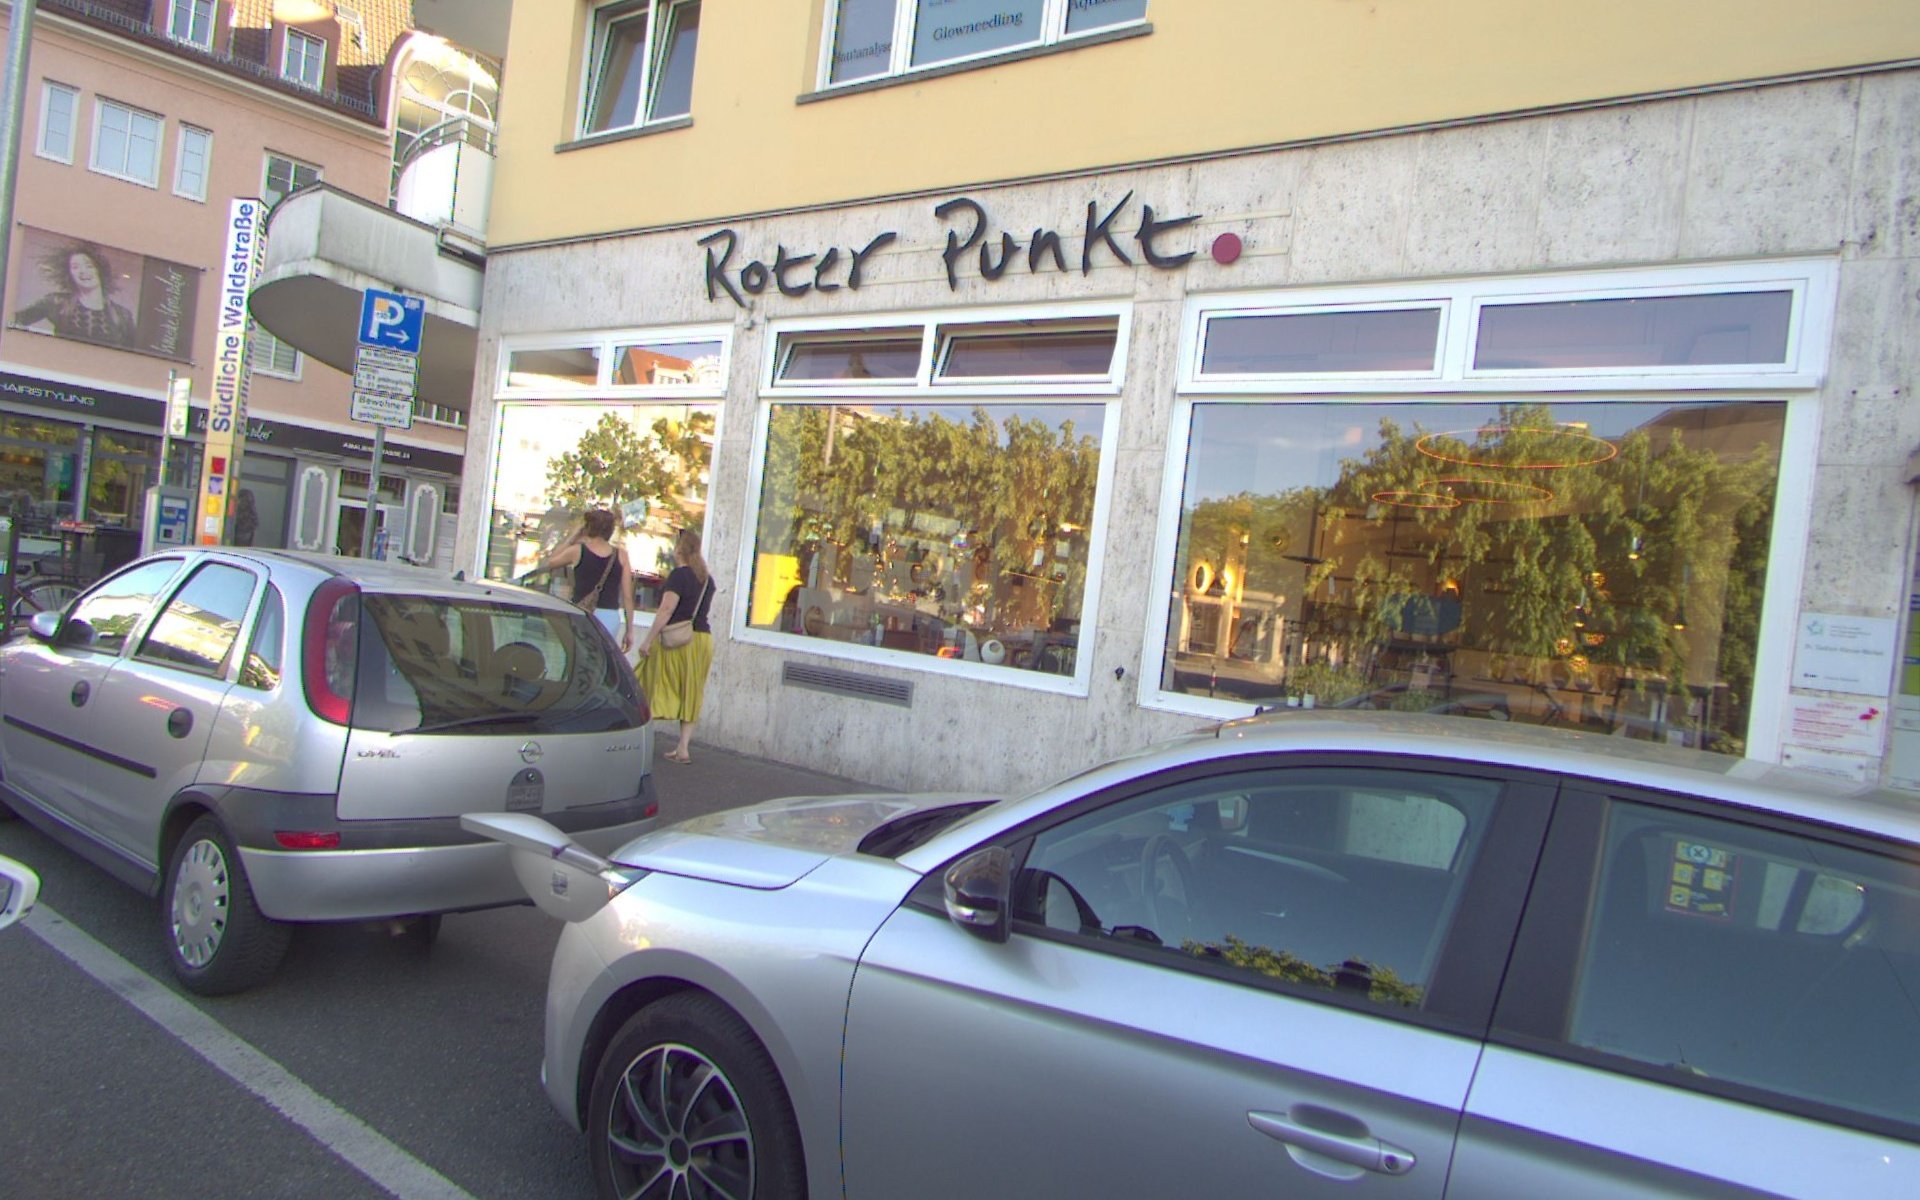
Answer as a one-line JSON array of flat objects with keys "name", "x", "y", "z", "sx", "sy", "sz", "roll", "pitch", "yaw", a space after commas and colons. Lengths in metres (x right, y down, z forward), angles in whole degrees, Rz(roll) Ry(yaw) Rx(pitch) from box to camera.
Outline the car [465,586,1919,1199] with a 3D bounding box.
[{"name": "car", "x": 0.764, "y": 0.920, "z": 2.286, "sx": 3.598, "sy": 1.444, "sz": 1.550, "roll": 6, "pitch": -1, "yaw": 30}]

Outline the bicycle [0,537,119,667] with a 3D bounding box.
[{"name": "bicycle", "x": -8.135, "y": -0.005, "z": 8.212, "sx": 0.348, "sy": 1.051, "sz": 1.871, "roll": 6, "pitch": 1, "yaw": 38}]

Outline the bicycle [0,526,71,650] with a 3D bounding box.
[{"name": "bicycle", "x": -9.105, "y": -0.152, "z": 8.819, "sx": 0.408, "sy": 1.101, "sz": 1.872, "roll": 6, "pitch": 1, "yaw": 35}]

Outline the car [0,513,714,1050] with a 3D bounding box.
[{"name": "car", "x": -2.937, "y": 0.492, "z": 4.436, "sx": 3.420, "sy": 1.407, "sz": 1.548, "roll": 6, "pitch": -1, "yaw": 33}]

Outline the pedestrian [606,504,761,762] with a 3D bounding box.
[{"name": "pedestrian", "x": -2.063, "y": 0.252, "z": 7.552, "sx": 0.558, "sy": 1.805, "sz": 0.742, "roll": 7, "pitch": 0, "yaw": 31}]

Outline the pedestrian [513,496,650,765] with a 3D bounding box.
[{"name": "pedestrian", "x": -2.547, "y": 0.205, "z": 6.841, "sx": 0.649, "sy": 1.685, "sz": 0.645, "roll": 7, "pitch": 0, "yaw": -18}]
